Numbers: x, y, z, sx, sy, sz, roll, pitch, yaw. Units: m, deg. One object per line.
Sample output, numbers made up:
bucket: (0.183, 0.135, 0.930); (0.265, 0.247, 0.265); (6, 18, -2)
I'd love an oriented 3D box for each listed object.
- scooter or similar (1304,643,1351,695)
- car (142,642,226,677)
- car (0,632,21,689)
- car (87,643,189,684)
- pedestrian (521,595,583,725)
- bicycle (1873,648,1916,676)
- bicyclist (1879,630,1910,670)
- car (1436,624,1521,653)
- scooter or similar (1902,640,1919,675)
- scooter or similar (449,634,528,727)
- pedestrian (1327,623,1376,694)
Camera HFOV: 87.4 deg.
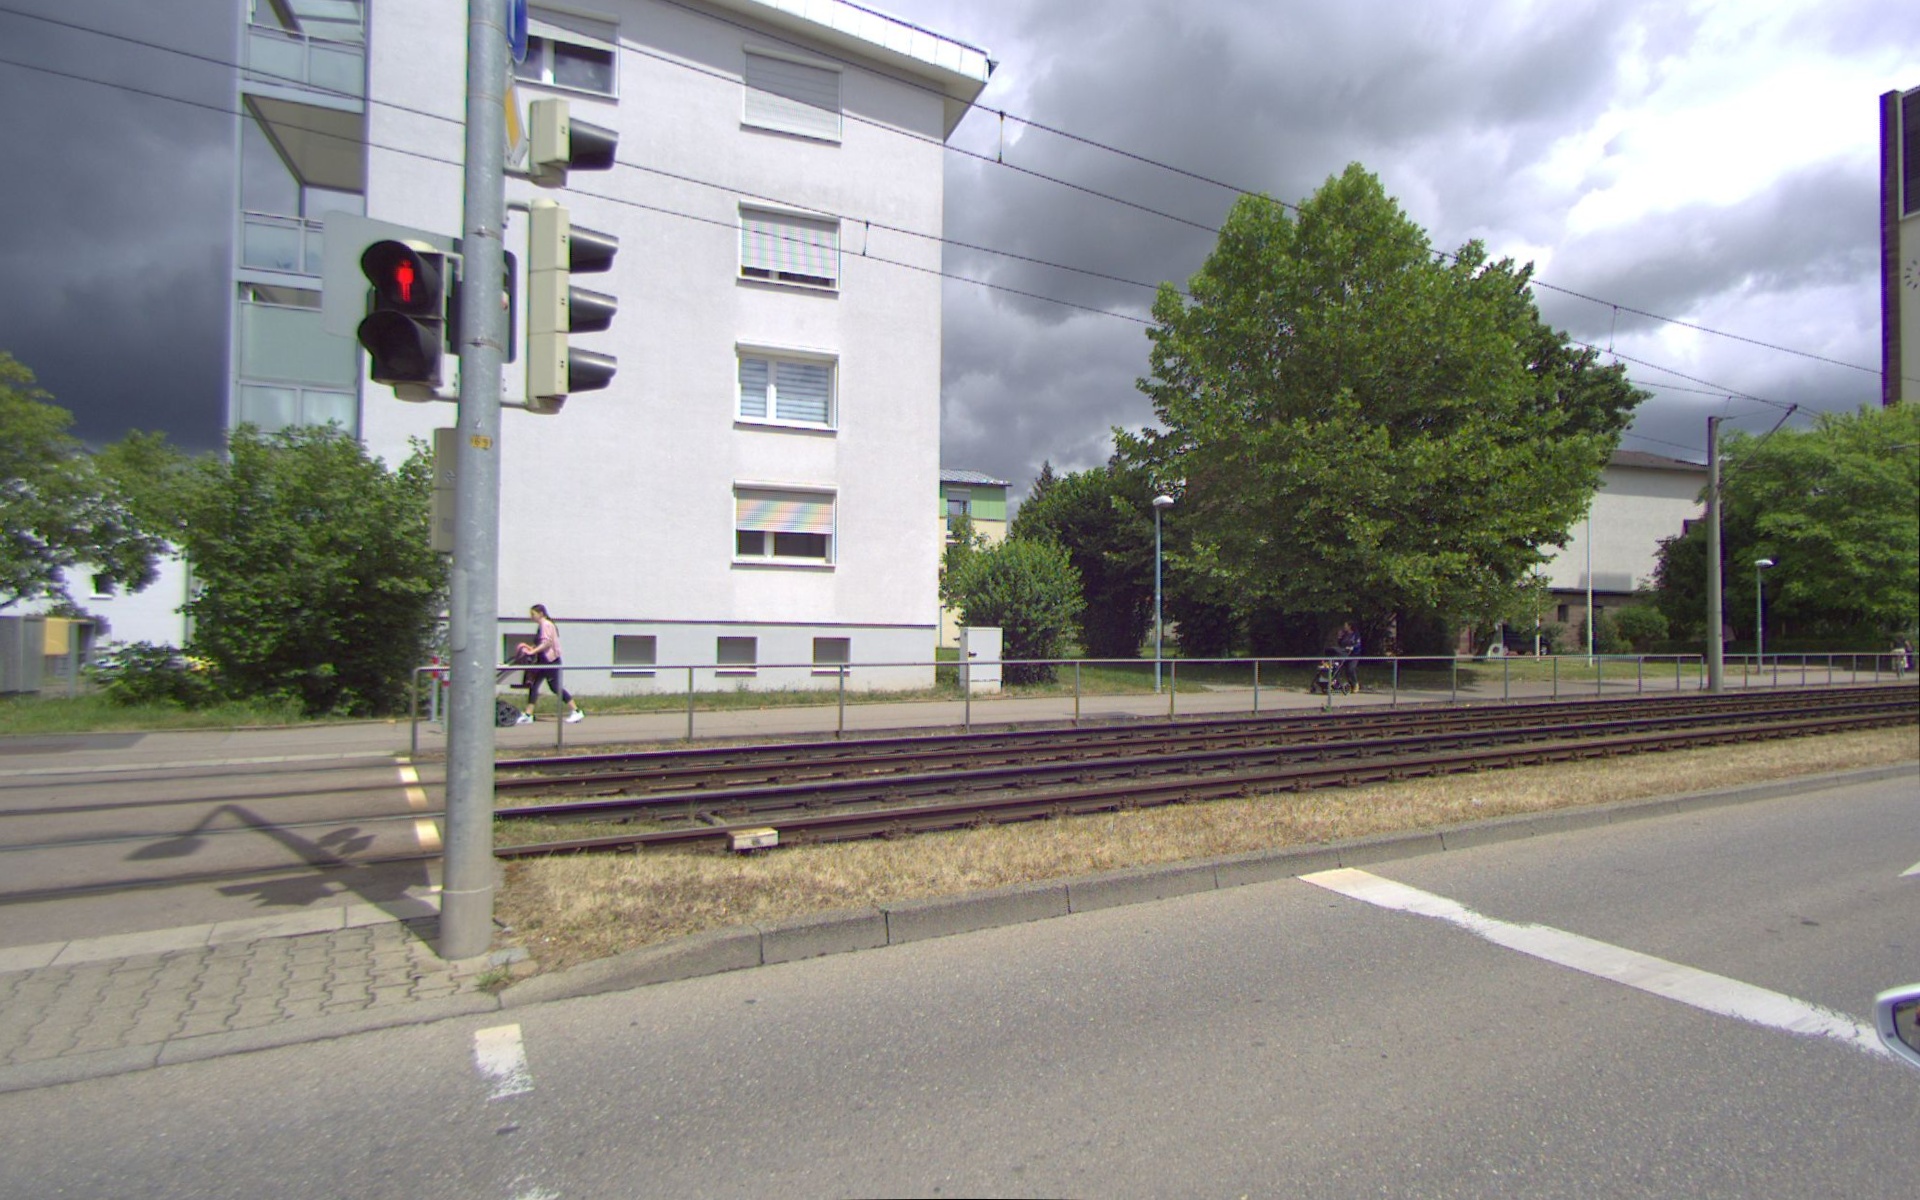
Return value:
scooter or similar: (8.161, 1.525, 22.330); (0.812, 1.130, 0.601); (2, -1, -32)
car: (-32.637, 2.467, 42.342); (1.895, 1.312, 3.976); (2, -2, -25)
car: (-25.366, 1.538, 24.861); (1.895, 1.446, 3.976); (2, -2, -25)
car: (-29.948, 2.289, 36.734); (1.895, 1.312, 3.976); (2, -2, -25)
pedestrian: (-5.597, 0.806, 13.775); (0.671, 1.715, 0.642); (2, -1, -30)
bicycle: (34.990, 2.311, 37.595); (1.905, 1.007, 0.634); (2, 0, -30)
bicyclist: (34.866, 1.864, 37.485); (0.781, 1.448, 0.630); (2, 0, -30)
car: (32.155, 2.393, 62.323); (4.398, 1.595, 1.995); (2, 0, -12)
scooter or similar: (36.181, 2.159, 37.807); (1.384, 1.253, 0.646); (1, 0, -29)
scooter or similar: (-6.282, 1.059, 13.376); (0.881, 1.178, 0.605); (2, -1, -30)
pedestrian: (8.881, 1.314, 22.781); (0.864, 1.560, 0.609); (2, -1, -32)
